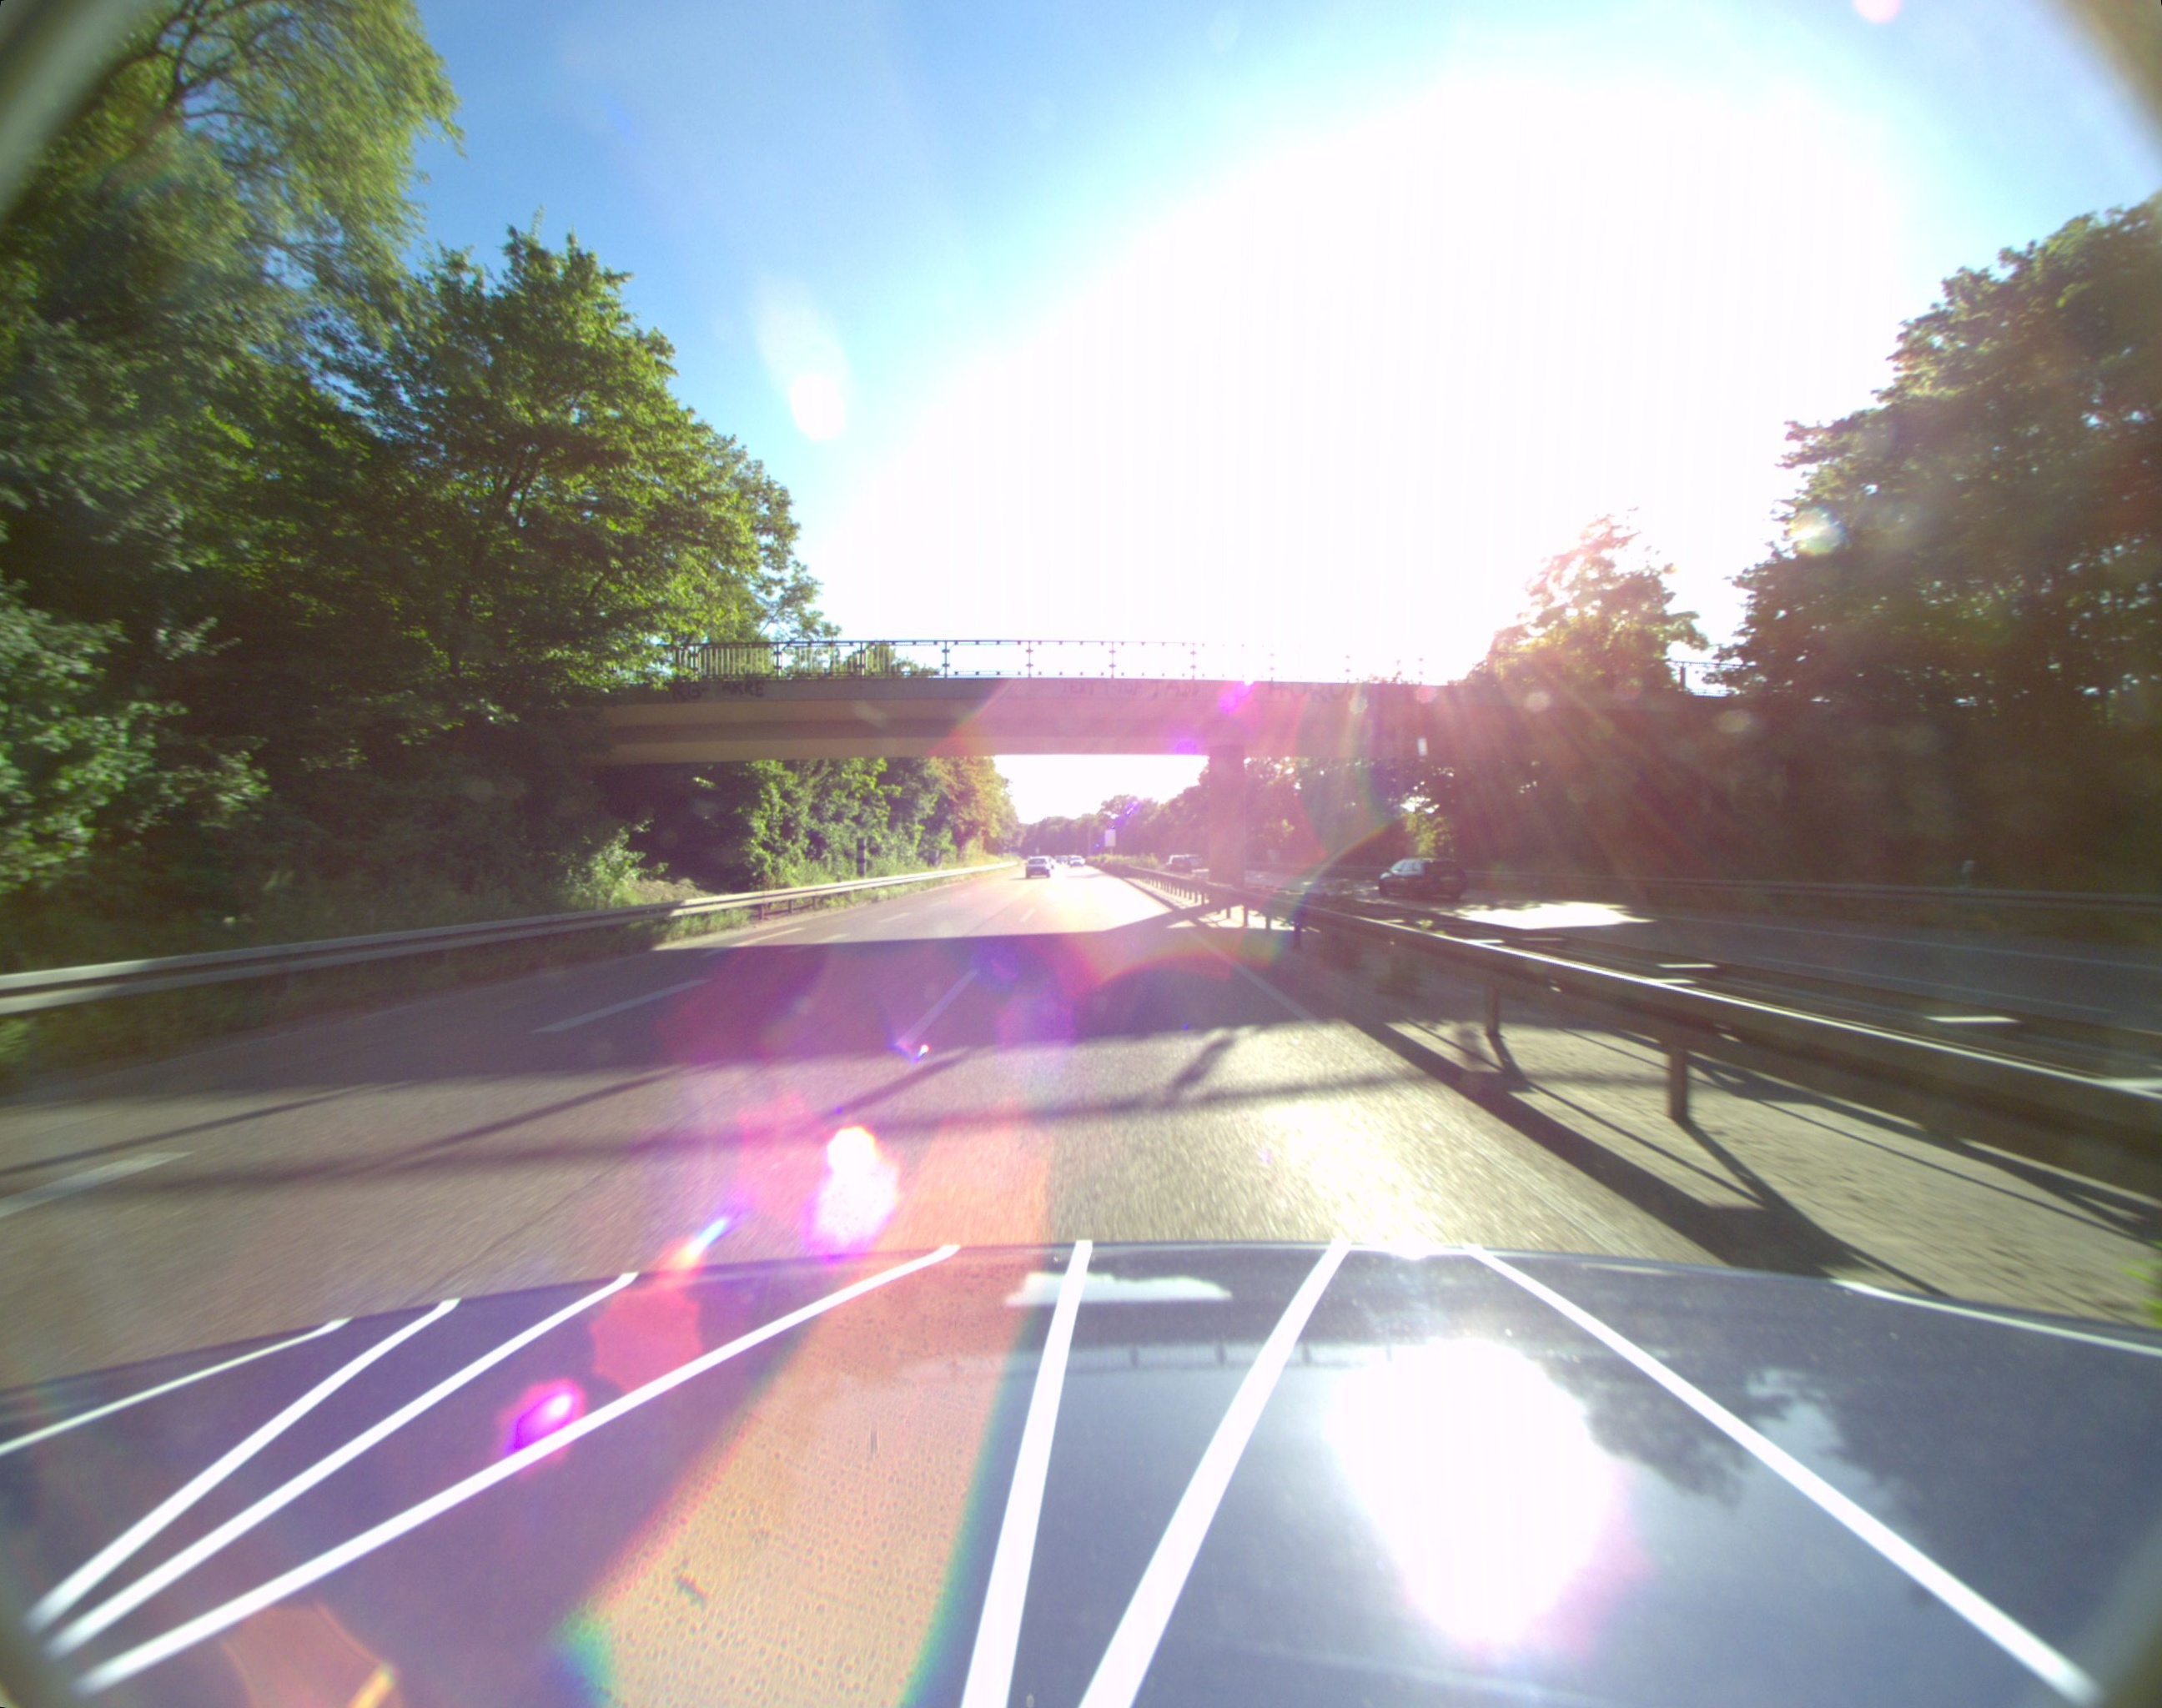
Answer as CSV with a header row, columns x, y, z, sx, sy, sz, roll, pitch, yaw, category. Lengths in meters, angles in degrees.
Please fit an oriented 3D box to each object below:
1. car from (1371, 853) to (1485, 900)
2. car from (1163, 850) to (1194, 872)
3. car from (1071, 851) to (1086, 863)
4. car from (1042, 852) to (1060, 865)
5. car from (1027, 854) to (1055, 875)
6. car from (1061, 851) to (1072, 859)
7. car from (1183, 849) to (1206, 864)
x,y,z,sx,sy,sz,roll,pitch,yaw,category
12.536,0.745,27.817,1.965,1.442,4.705,-3,0,0,car
8.046,0.572,63.192,1.966,1.714,4.591,0,0,0,car
-0.348,0.397,101.135,1.905,1.453,4.354,-1,0,-3,car
-3.700,0.543,93.311,1.802,1.453,4.353,-1,1,-6,car
-2.957,0.767,57.065,1.801,1.453,4.355,-2,1,0,car
-2.827,0.169,147.046,1.801,1.453,4.400,0,0,-4,car
12.824,0.270,86.085,1.965,1.649,5.040,0,0,1,car
